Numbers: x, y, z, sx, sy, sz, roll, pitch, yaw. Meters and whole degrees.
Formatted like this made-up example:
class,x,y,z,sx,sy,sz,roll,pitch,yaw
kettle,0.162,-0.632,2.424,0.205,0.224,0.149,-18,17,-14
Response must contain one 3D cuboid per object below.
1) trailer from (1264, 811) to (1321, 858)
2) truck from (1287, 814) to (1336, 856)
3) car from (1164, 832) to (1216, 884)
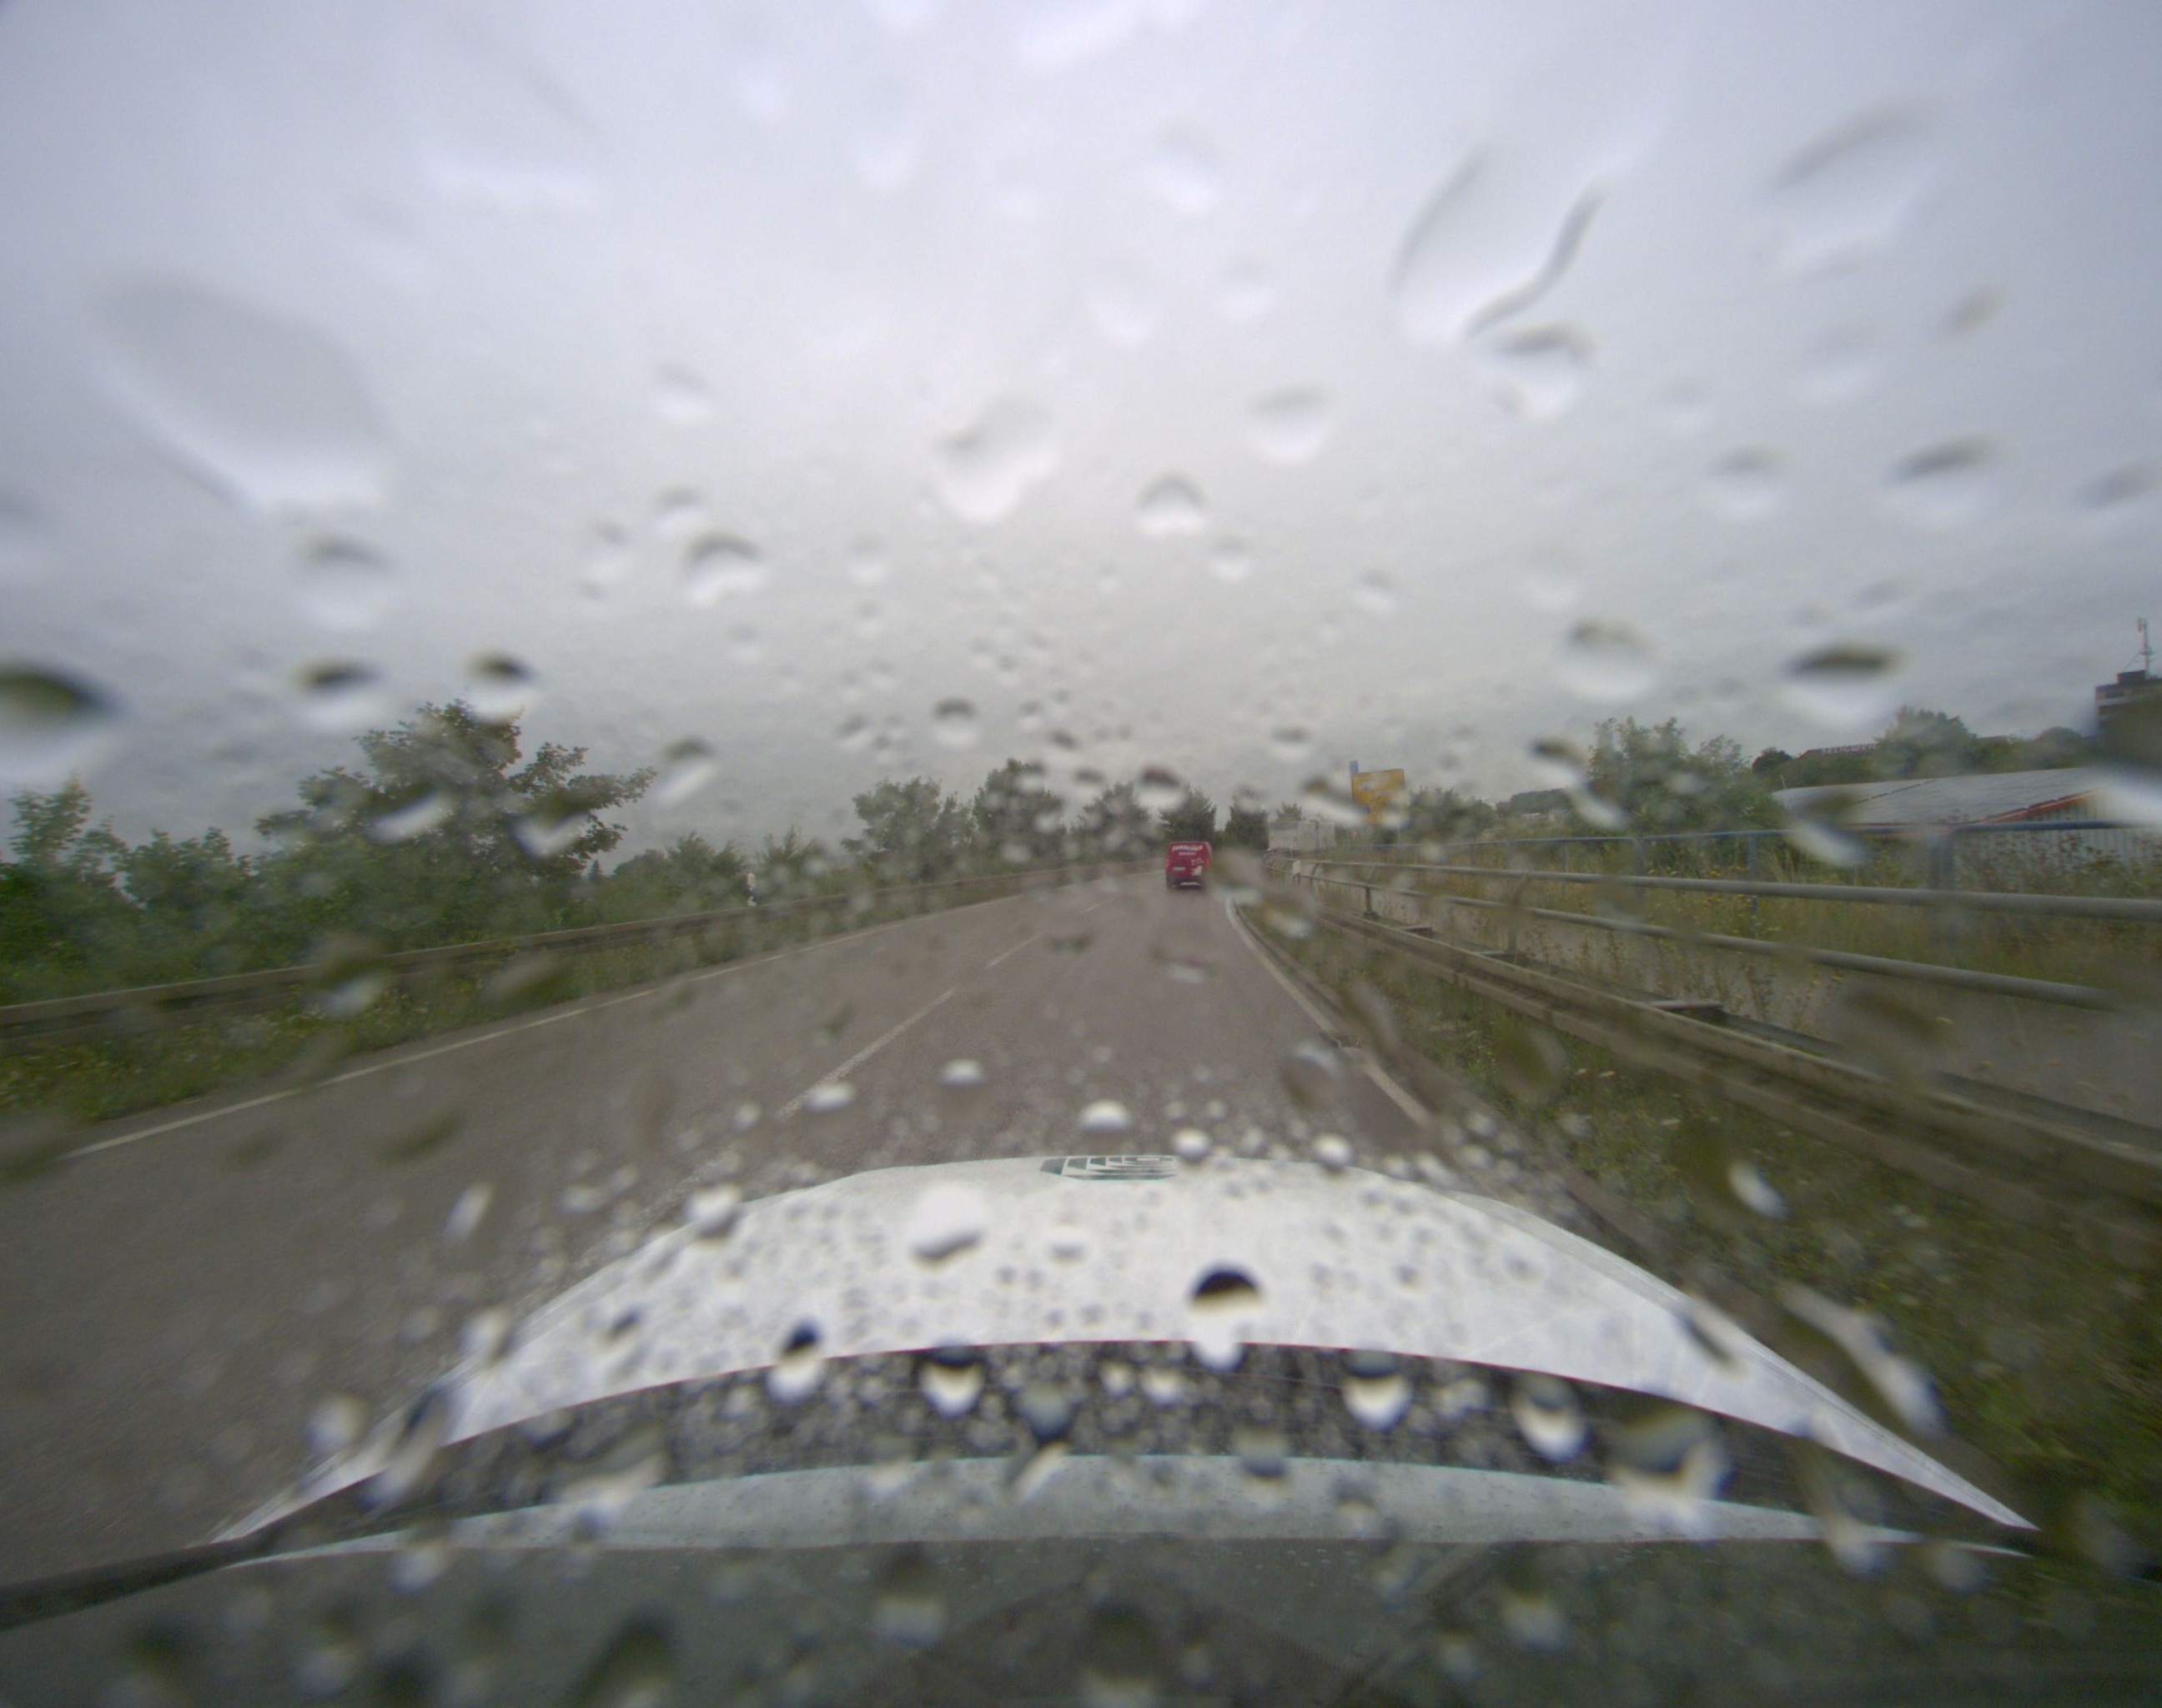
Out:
class,x,y,z,sx,sy,sz,roll,pitch,yaw
trailer,19.227,-1.715,73.555,3.172,3.922,8.791,-1,0,26
truck,23.156,-1.785,81.440,3.172,3.922,8.791,-1,0,26
car,4.620,0.107,34.244,1.982,1.925,4.154,-2,2,9
